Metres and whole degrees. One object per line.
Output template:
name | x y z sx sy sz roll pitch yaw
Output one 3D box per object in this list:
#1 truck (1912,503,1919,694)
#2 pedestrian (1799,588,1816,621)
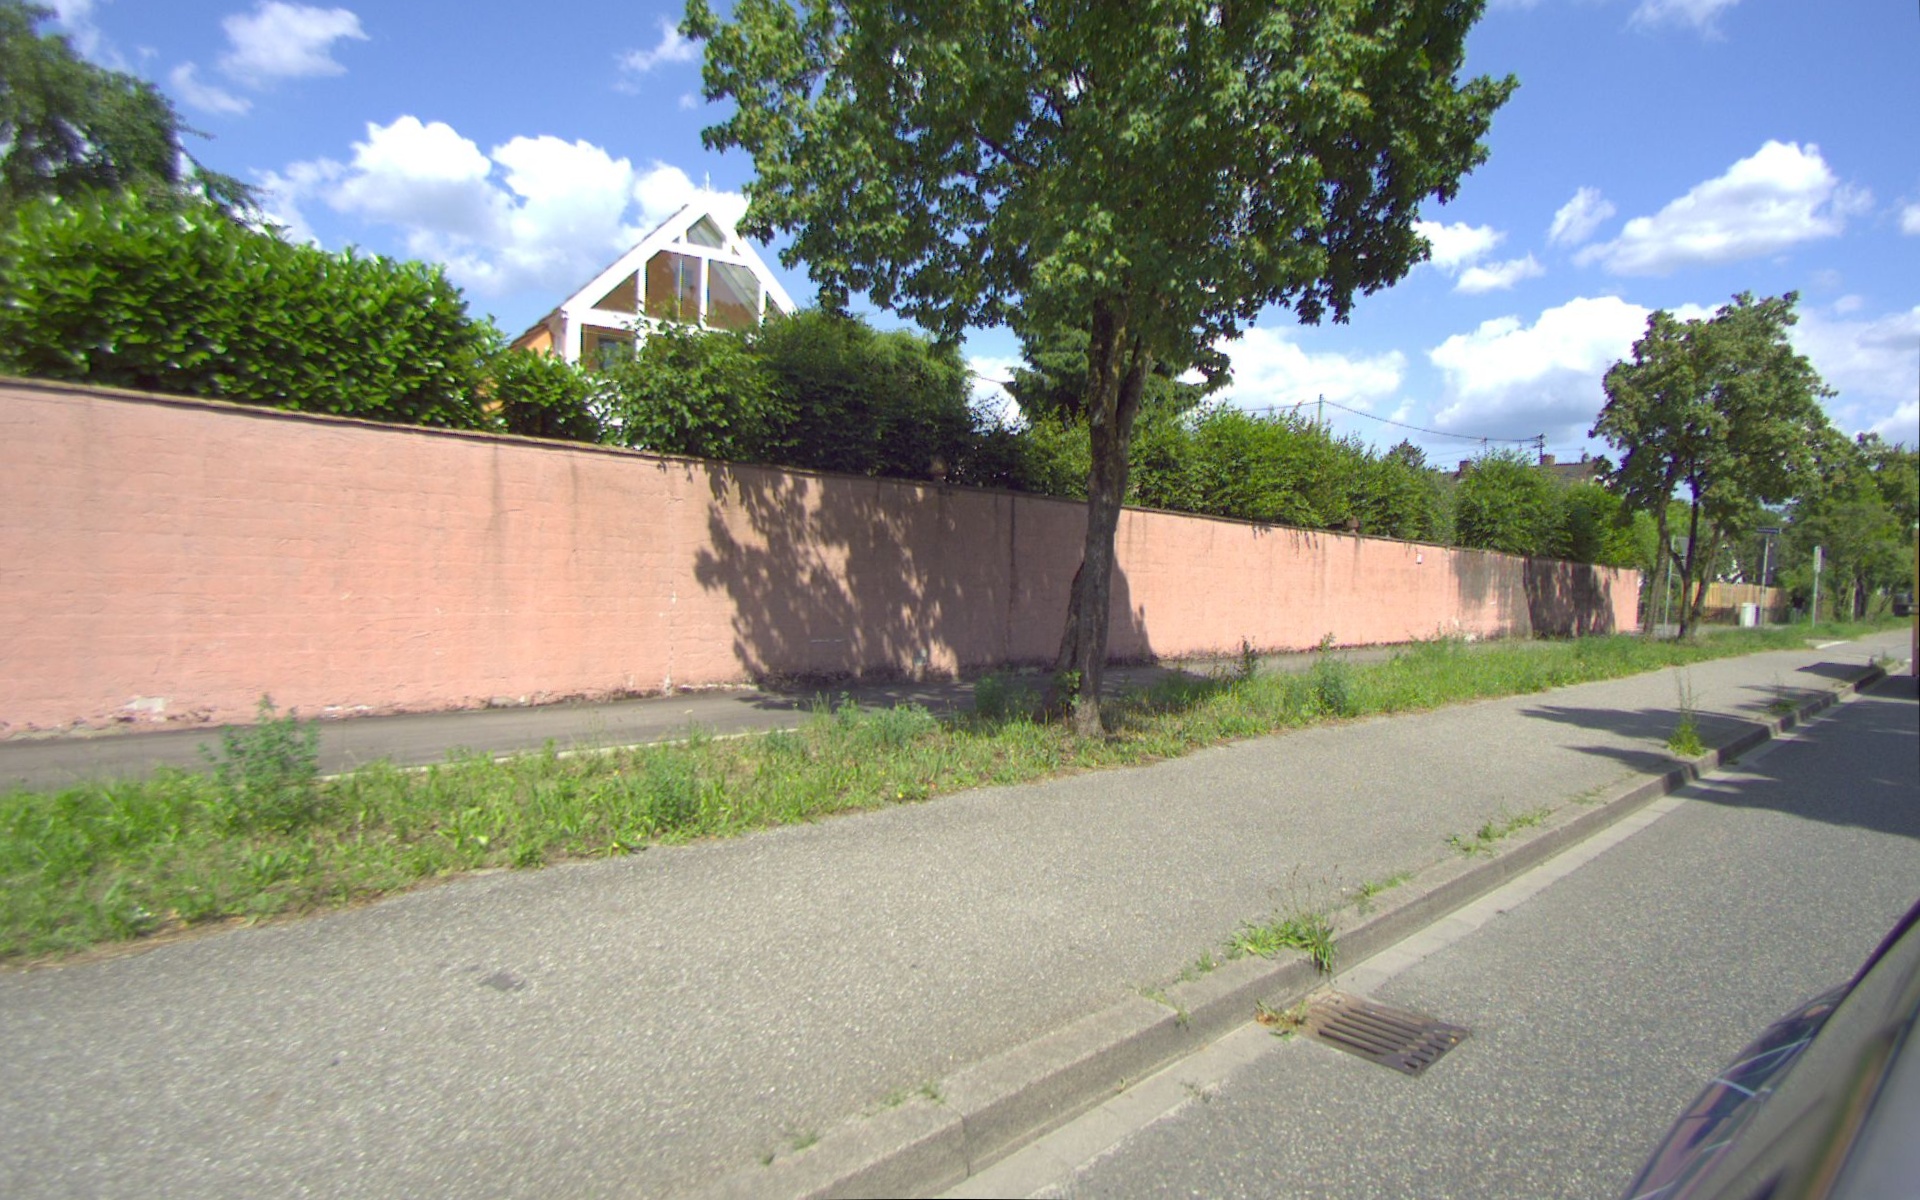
truck | 18.240 -0.008 17.412 7.893 2.917 2.267 0 1 -44
pedestrian | 44.489 0.228 53.138 0.623 1.697 0.560 1 1 -43
